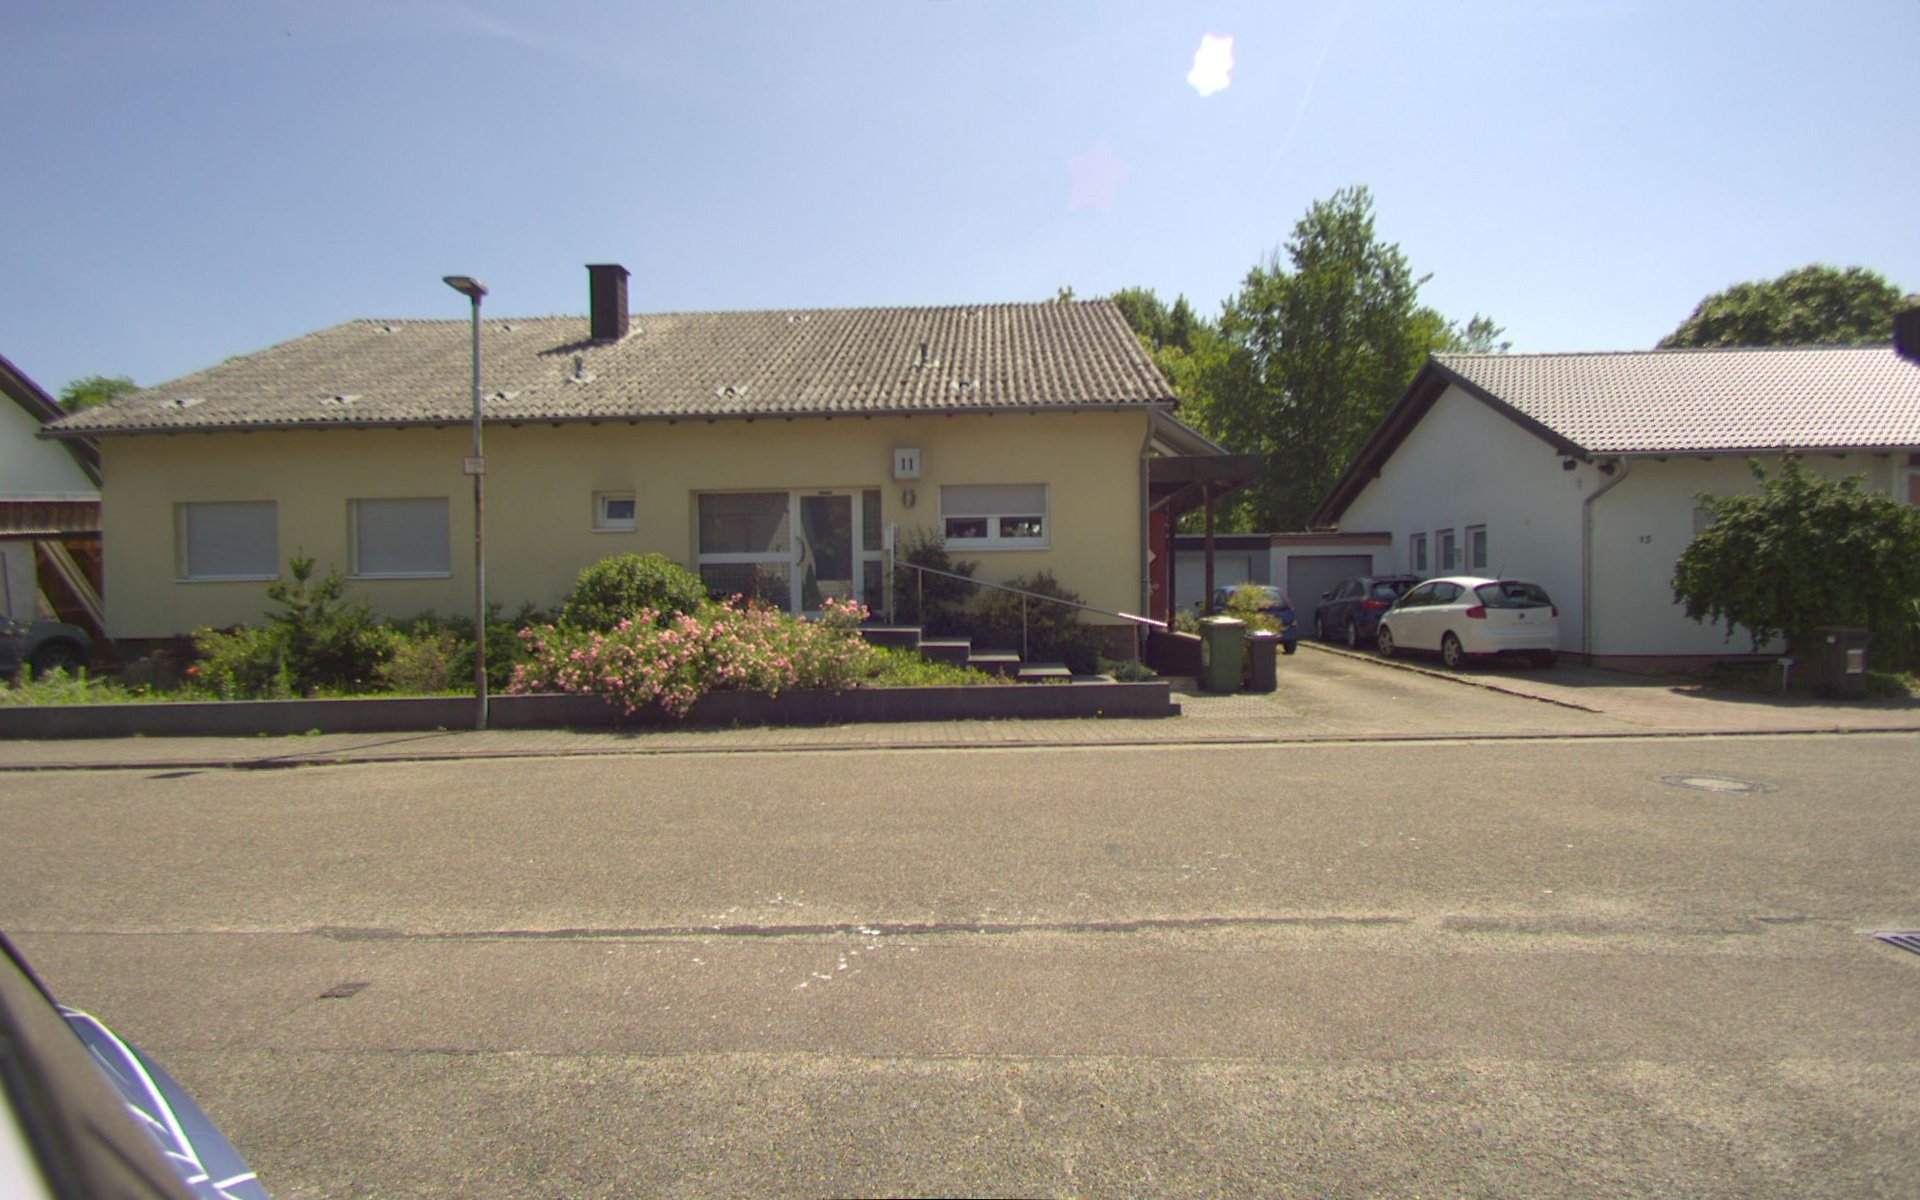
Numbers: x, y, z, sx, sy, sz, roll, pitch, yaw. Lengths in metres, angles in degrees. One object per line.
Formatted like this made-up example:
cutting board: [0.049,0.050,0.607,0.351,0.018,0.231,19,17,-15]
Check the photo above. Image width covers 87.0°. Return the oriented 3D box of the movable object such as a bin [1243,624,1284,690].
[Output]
movable object such as a bin: [4.330,0.807,14.460,0.401,0.898,0.427,-2,0,-5]

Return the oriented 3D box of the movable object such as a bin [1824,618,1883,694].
movable object such as a bin: [11.077,0.688,12.550,0.370,0.898,0.390,-2,0,2]

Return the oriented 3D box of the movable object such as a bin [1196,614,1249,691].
movable object such as a bin: [3.756,0.744,14.502,0.584,1.049,0.492,-2,0,-5]

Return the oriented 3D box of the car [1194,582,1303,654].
car: [6.404,0.350,22.764,1.598,1.466,3.252,-1,2,2]

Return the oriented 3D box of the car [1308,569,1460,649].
car: [9.497,0.151,23.034,1.903,1.620,3.997,-2,1,3]

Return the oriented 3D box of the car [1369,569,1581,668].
car: [9.149,0.277,18.375,1.727,1.580,4.001,-1,1,-1]

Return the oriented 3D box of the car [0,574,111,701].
car: [-14.010,0.558,13.206,1.688,1.714,4.636,-1,2,5]
